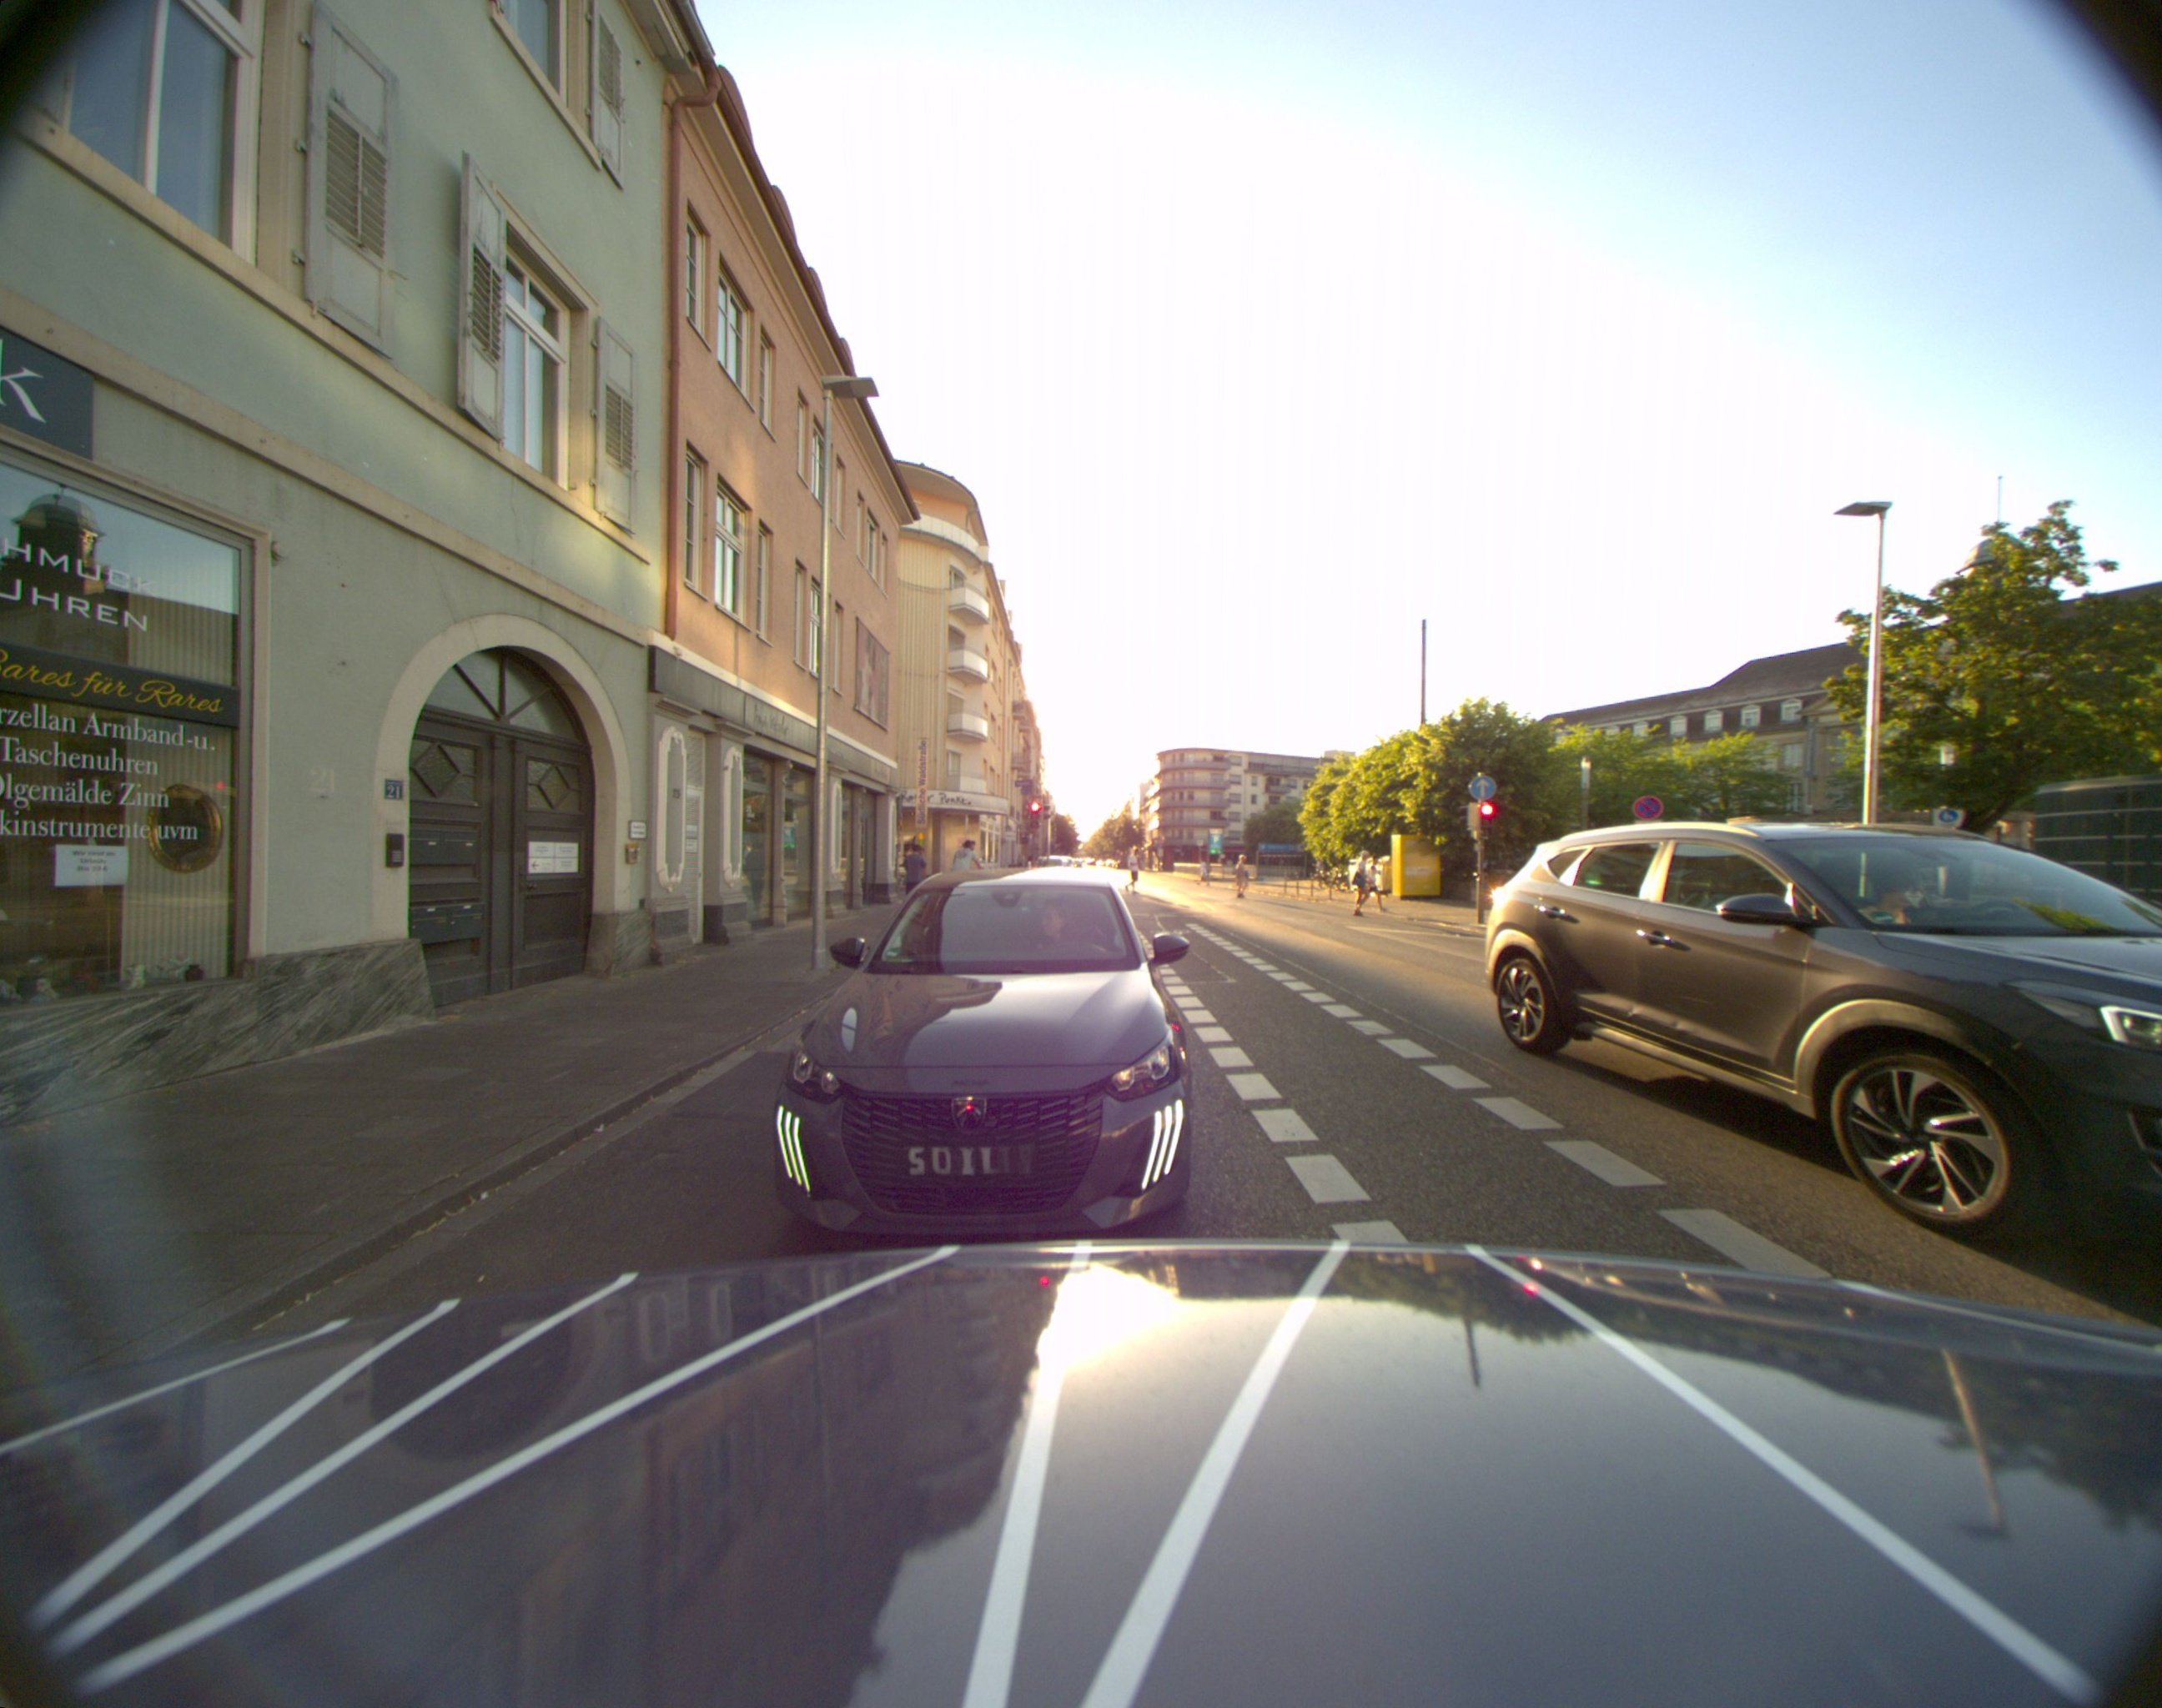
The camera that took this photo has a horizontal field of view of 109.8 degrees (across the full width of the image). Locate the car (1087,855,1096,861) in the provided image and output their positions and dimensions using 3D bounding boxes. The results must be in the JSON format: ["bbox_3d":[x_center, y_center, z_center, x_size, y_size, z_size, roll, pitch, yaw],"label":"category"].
[{"bbox_3d":[2.769,1.106,206.358,1.878,1.621,4.177,3,-1,-5],"label":"car"}]

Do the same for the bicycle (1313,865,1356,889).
[{"bbox_3d":[13.167,1.185,39.442,2.031,1.245,0.548,-1,0,-4],"label":"bicycle"}]

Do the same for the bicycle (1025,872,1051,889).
[{"bbox_3d":[-1.899,1.163,33.399,1.008,0.677,1.049,1,0,-9],"label":"bicycle"}]

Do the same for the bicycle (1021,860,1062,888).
[{"bbox_3d":[-1.811,0.918,35.116,1.849,1.232,0.639,1,0,-5],"label":"bicycle"}]

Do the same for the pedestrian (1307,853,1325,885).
[{"bbox_3d":[13.744,0.867,44.443,0.870,1.806,0.826,1,0,9],"label":"pedestrian"}]

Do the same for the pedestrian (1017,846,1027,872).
[{"bbox_3d":[-4.549,0.362,58.700,0.673,2.002,0.851,0,1,0],"label":"pedestrian"}]

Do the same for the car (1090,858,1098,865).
[{"bbox_3d":[3.332,1.861,190.507,1.790,1.458,3.956,2,0,-1],"label":"car"}]

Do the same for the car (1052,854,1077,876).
[{"bbox_3d":[-1.305,0.879,62.232,1.877,1.664,4.430,0,0,0],"label":"car"}]

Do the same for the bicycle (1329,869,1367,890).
[{"bbox_3d":[13.107,1.234,37.264,1.678,0.973,0.548,-1,0,-4],"label":"bicycle"}]

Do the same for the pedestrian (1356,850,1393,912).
[{"bbox_3d":[9.078,0.815,23.559,0.939,1.886,0.827,1,0,14],"label":"pedestrian"}]

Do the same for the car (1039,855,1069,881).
[{"bbox_3d":[-1.744,0.912,51.059,1.821,1.611,4.203,0,0,0],"label":"car"}]

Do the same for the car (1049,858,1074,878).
[{"bbox_3d":[-1.414,1.003,56.621,1.738,1.448,4.610,0,0,0],"label":"car"}]

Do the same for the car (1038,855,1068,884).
[{"bbox_3d":[-1.631,0.870,44.568,1.702,1.607,4.682,0,0,-2],"label":"car"}]

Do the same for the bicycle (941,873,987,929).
[{"bbox_3d":[-2.492,0.978,16.417,0.692,1.100,1.896,1,0,0],"label":"bicycle"}]

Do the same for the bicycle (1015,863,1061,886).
[{"bbox_3d":[-2.128,1.002,37.447,2.176,1.069,0.805,2,0,-7],"label":"bicycle"}]

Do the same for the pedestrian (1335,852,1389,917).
[{"bbox_3d":[7.743,0.823,20.990,1.101,1.764,0.825,1,0,-11],"label":"pedestrian"}]

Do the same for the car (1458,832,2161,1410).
[{"bbox_3d":[4.088,0.811,4.059,1.877,1.679,4.449,2,0,0],"label":"car"}]

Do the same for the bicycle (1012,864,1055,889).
[{"bbox_3d":[-2.141,0.997,34.178,1.788,1.057,0.718,2,0,-11],"label":"bicycle"}]

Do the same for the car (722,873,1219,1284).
[{"bbox_3d":[-0.488,0.921,5.168,1.909,1.438,4.448,0,0,-2],"label":"car"}]

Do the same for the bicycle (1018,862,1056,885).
[{"bbox_3d":[-2.221,0.990,38.446,1.851,1.117,0.594,2,1,-11],"label":"bicycle"}]

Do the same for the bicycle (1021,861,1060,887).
[{"bbox_3d":[-1.948,0.954,36.495,1.788,1.166,0.622,2,0,-11],"label":"bicycle"}]

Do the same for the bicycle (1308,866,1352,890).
[{"bbox_3d":[12.456,1.206,38.076,2.031,1.128,0.548,-1,0,-4],"label":"bicycle"}]

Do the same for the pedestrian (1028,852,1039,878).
[{"bbox_3d":[-3.667,0.837,58.615,0.763,2.002,0.851,0,0,0],"label":"pedestrian"}]

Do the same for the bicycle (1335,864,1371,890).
[{"bbox_3d":[13.194,1.127,36.854,1.590,1.245,0.445,-1,0,-2],"label":"bicycle"}]

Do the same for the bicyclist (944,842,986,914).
[{"bbox_3d":[-2.488,0.508,16.377,0.724,1.499,0.900,1,0,1],"label":"bicyclist"}]

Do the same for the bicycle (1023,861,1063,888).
[{"bbox_3d":[-1.812,0.966,35.864,1.788,1.166,0.621,2,0,-11],"label":"bicycle"}]

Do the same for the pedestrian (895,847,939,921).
[{"bbox_3d":[-3.691,0.658,17.168,0.825,1.632,0.871,1,0,-2],"label":"pedestrian"}]
